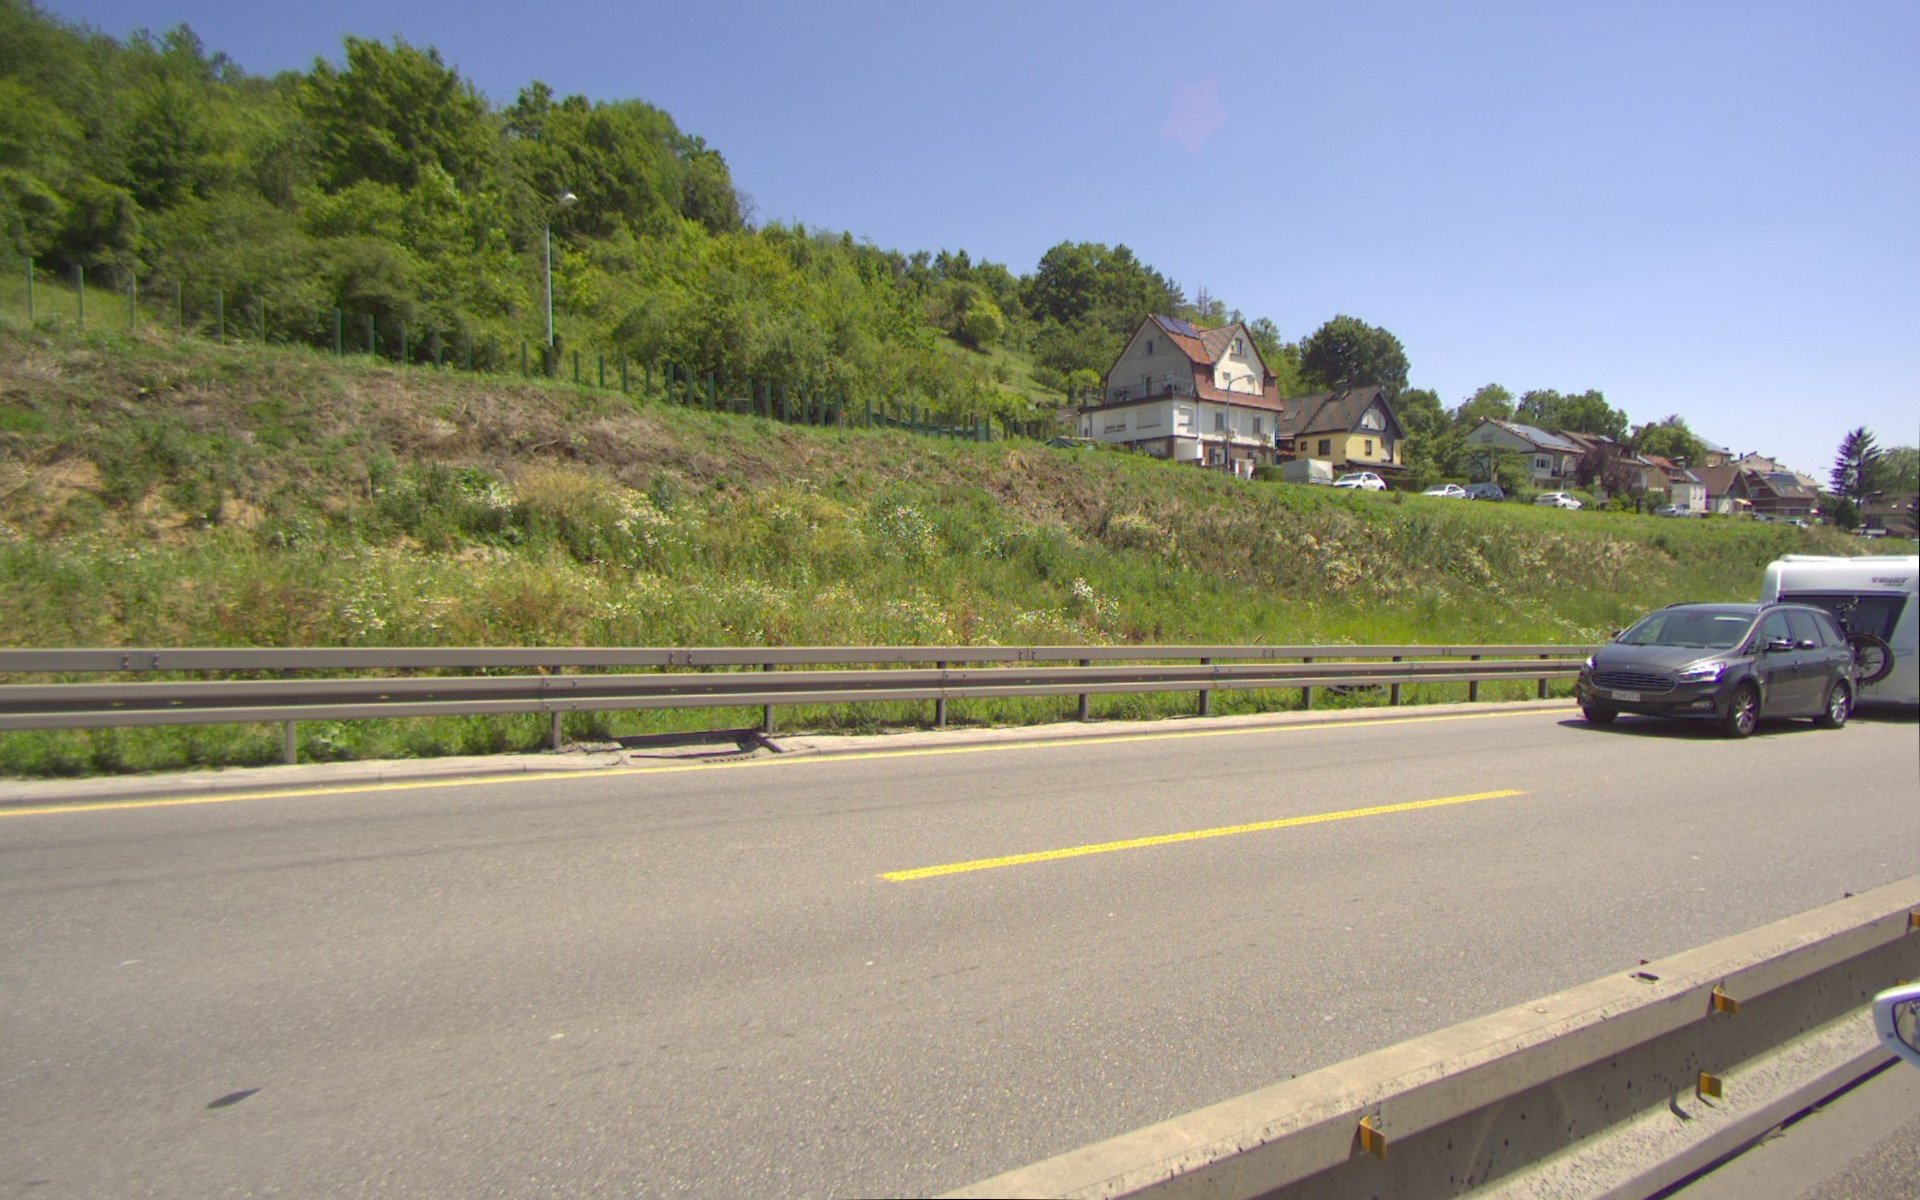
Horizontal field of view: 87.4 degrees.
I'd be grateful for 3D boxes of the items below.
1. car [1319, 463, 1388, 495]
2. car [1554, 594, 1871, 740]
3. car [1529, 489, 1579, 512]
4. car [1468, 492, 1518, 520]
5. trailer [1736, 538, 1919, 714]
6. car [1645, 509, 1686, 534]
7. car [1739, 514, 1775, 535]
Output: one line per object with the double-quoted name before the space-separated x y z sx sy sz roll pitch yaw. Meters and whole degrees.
"car" 22.184 -6.786 56.549 3.970 1.337 1.975 2 4 -42
"car" 10.497 0.839 13.937 4.593 1.735 1.868 1 0 -30
"car" 43.411 -7.252 73.359 3.970 1.337 1.975 2 4 -42
"car" 34.946 -6.138 65.807 3.968 1.438 1.577 1 0 -41
"trailer" 16.381 0.494 17.547 5.799 2.648 2.473 2 -1 -30
"car" 59.216 -6.554 84.285 3.969 1.751 1.908 1 0 -41
"car" 78.413 -7.384 98.815 3.959 1.751 1.742 1 0 -35
